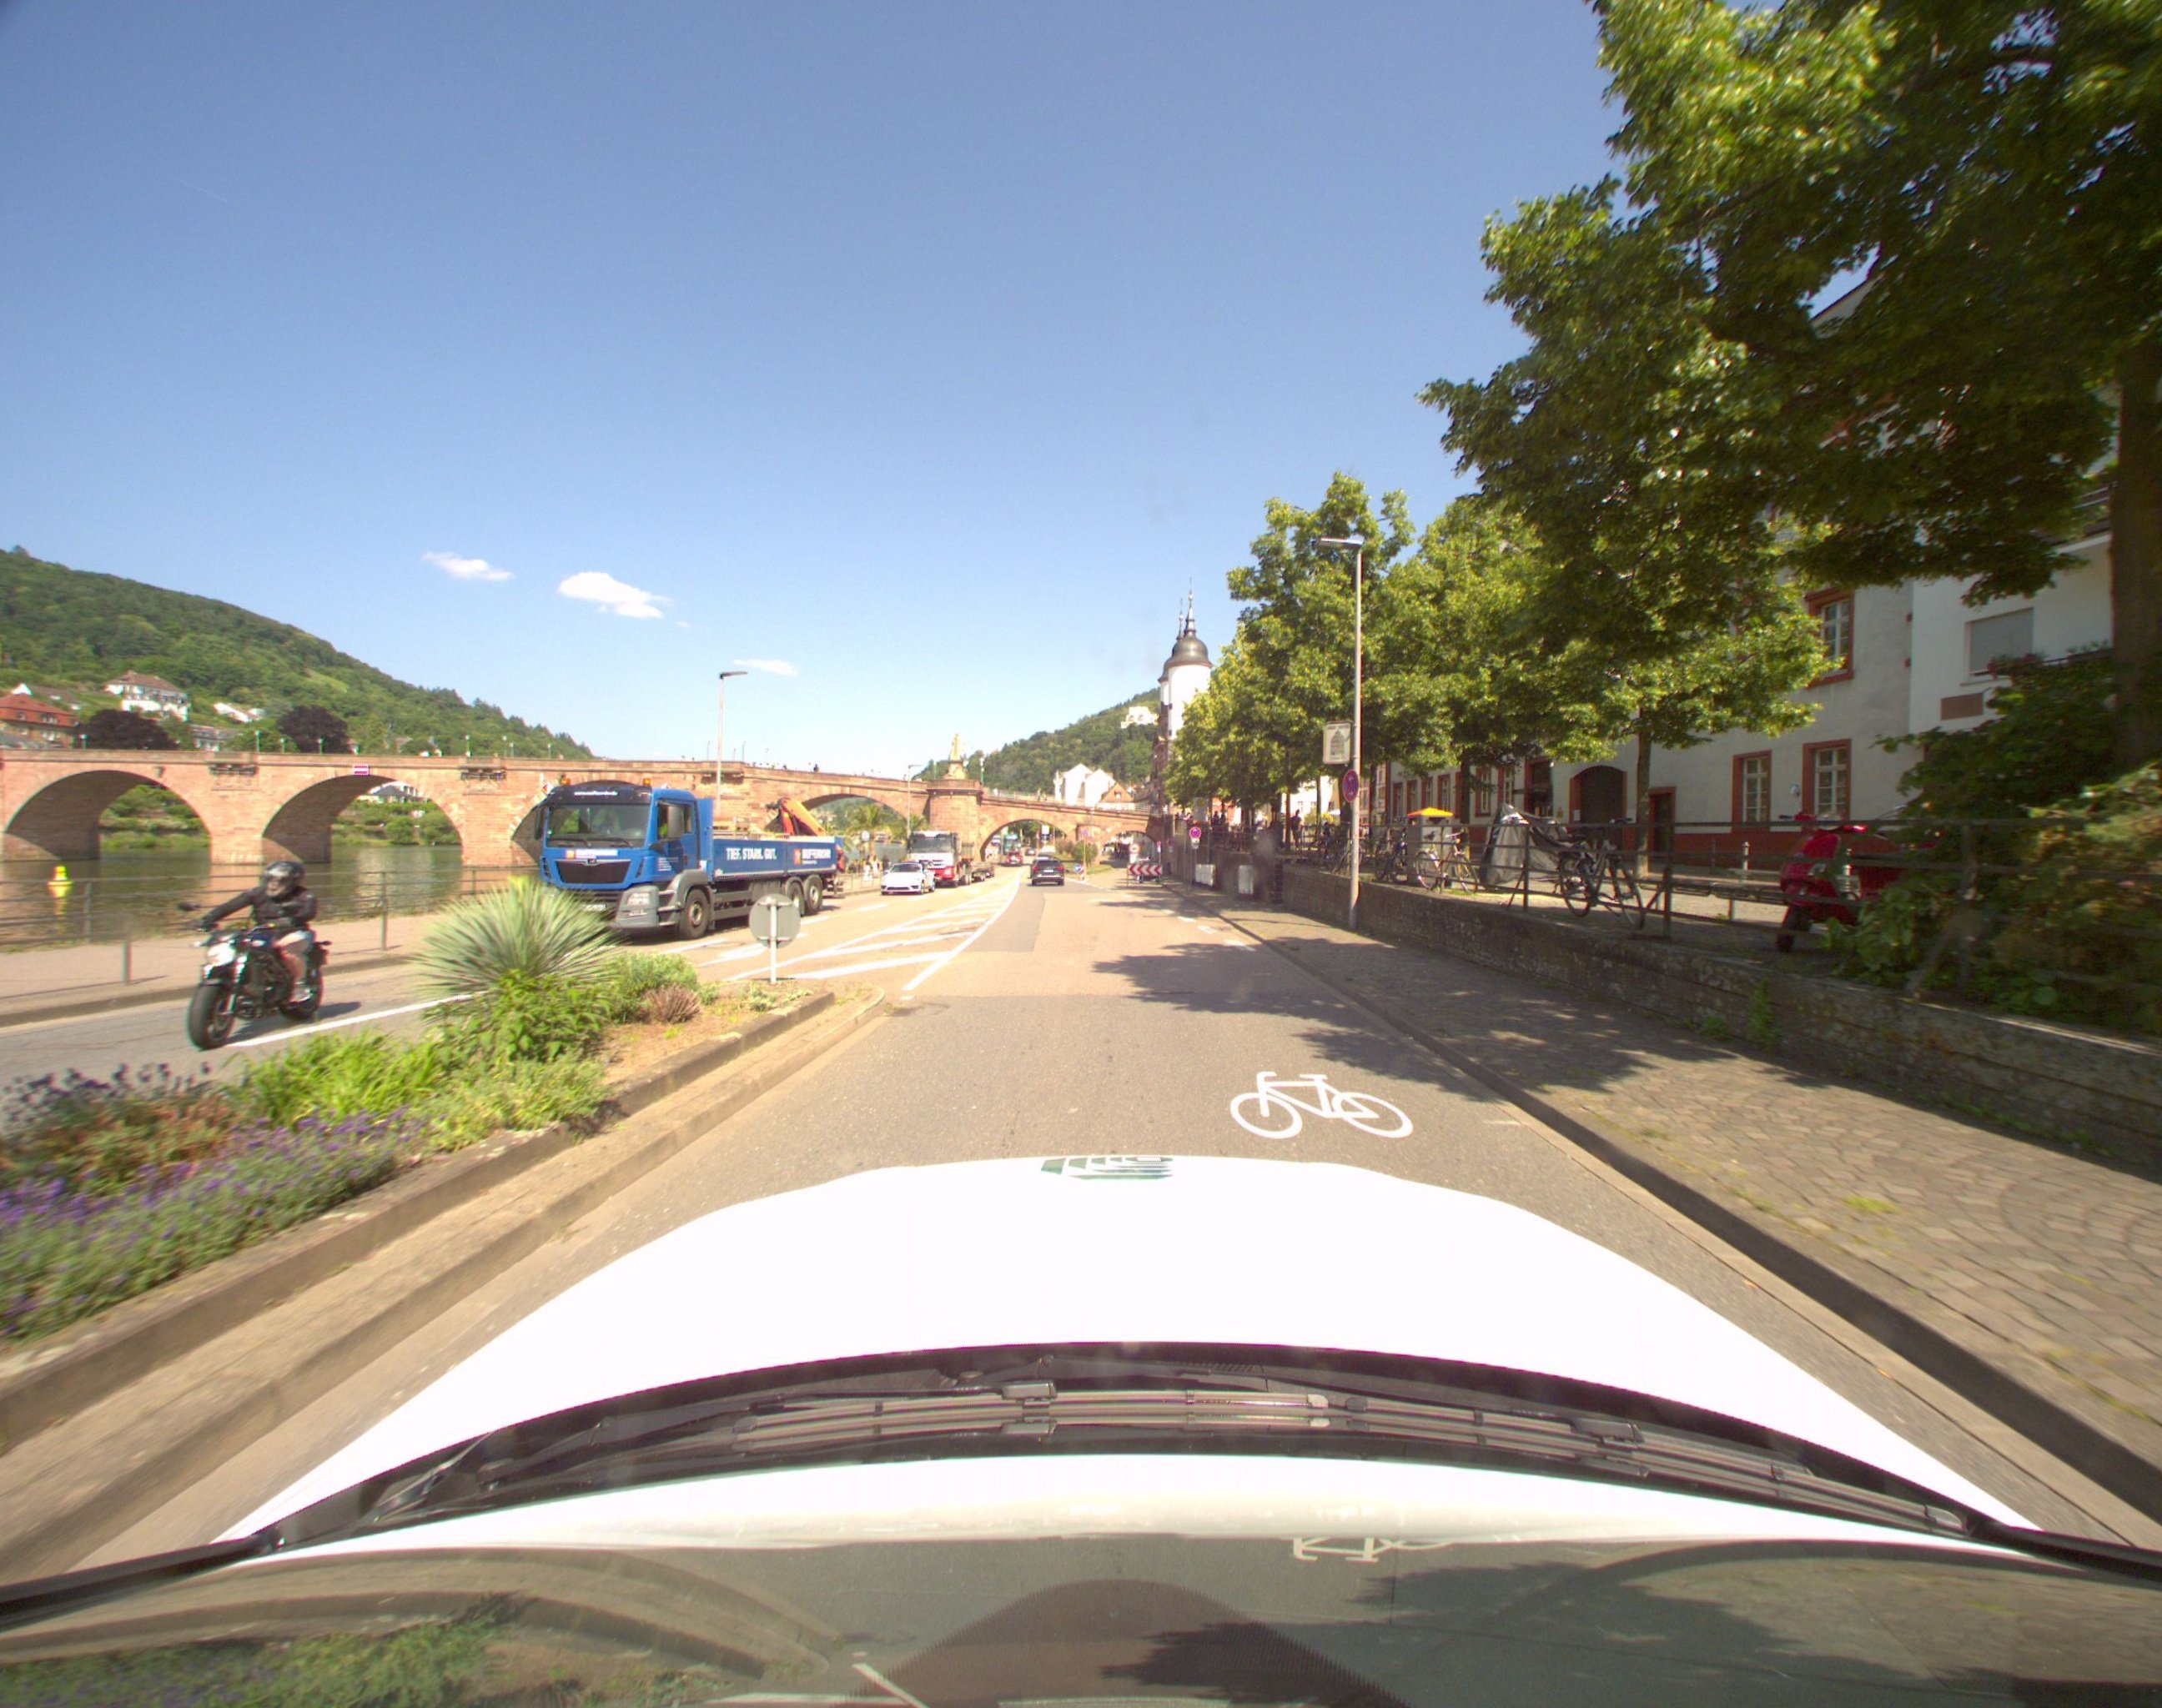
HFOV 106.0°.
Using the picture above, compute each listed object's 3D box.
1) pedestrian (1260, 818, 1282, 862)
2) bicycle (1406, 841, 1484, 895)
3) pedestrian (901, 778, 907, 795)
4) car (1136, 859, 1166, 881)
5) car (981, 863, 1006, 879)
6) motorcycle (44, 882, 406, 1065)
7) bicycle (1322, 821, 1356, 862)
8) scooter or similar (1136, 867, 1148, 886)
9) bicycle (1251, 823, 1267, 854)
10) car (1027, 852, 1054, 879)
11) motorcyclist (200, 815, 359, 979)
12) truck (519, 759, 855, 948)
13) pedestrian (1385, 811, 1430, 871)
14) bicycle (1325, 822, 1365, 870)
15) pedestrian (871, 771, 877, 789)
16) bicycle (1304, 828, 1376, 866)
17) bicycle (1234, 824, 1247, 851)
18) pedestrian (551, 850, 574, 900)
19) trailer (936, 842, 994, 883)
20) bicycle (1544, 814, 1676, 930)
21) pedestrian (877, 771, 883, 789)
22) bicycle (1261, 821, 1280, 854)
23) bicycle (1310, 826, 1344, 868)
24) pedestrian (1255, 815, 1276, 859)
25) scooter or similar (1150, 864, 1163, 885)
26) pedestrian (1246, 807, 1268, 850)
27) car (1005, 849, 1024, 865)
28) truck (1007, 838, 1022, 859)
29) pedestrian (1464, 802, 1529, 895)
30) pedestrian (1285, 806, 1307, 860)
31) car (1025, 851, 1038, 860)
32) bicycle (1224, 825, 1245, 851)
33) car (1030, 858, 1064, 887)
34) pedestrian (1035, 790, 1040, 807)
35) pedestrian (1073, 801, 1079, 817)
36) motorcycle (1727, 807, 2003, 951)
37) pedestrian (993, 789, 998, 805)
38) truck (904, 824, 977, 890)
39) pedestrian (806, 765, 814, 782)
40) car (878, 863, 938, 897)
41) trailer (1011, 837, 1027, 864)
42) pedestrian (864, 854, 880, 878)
[{"bbox_3d":[7.523,-0.539,32.261,0.716,1.721,0.573,0,0,1],"label":"pedestrian"},{"bbox_3d":[5.756,0.201,12.980,0.348,0.784,1.918,0,0,-1],"label":"bicycle"},{"bbox_3d":[-20.946,-8.029,96.550,0.623,2.013,0.693,0,0,-9],"label":"pedestrian"},{"bbox_3d":[4.847,1.095,57.175,1.836,1.450,4.536,0,0,2],"label":"car"},{"bbox_3d":[-7.058,1.347,65.925,1.666,1.194,3.627,-1,0,-1],"label":"car"},{"bbox_3d":[-7.959,1.008,7.835,0.723,1.387,2.514,0,0,4],"label":"motorcycle"},{"bbox_3d":[7.441,-0.367,23.530,0.380,1.140,1.934,0,1,0],"label":"bicycle"},{"bbox_3d":[3.667,1.330,49.080,0.528,1.089,1.443,0,0,10],"label":"scooter or similar"},{"bbox_3d":[6.518,-0.547,29.862,0.408,1.106,1.737,0,0,6],"label":"bicycle"},{"bbox_3d":[-3.128,0.875,63.814,1.988,2.013,3.998,0,0,-1],"label":"car"},{"bbox_3d":[-7.852,0.402,8.018,0.698,1.526,0.862,0,0,3],"label":"motorcyclist"},{"bbox_3d":[-8.852,-0.018,20.642,2.631,3.476,11.115,0,0,3],"label":"truck"},{"bbox_3d":[7.114,-0.277,17.751,0.693,1.265,0.669,0,0,-3],"label":"pedestrian"},{"bbox_3d":[5.887,-0.182,18.224,0.297,1.004,1.941,0,1,0],"label":"bicycle"},{"bbox_3d":[-24.463,-8.740,96.313,0.623,2.013,0.693,0,0,-9],"label":"pedestrian"},{"bbox_3d":[6.924,-0.194,21.820,1.849,1.004,0.299,0,1,-2],"label":"bicycle"},{"bbox_3d":[6.652,-0.673,34.014,0.408,1.106,1.737,-1,0,6],"label":"bicycle"},{"bbox_3d":[-15.878,0.642,24.942,0.349,1.485,0.414,2,0,3],"label":"pedestrian"},{"bbox_3d":[-7.770,0.592,55.392,2.688,2.531,6.948,-1,-1,1],"label":"trailer"},{"bbox_3d":[5.619,0.170,8.776,0.342,1.112,1.922,0,0,6],"label":"bicycle"},{"bbox_3d":[-23.868,-8.744,96.509,0.623,2.013,0.693,0,0,-9],"label":"pedestrian"},{"bbox_3d":[6.555,-0.545,28.169,0.408,1.106,1.927,0,0,6],"label":"bicycle"},{"bbox_3d":[6.129,-0.186,20.360,0.297,1.004,1.860,0,1,0],"label":"bicycle"},{"bbox_3d":[7.167,-0.654,31.639,0.716,1.721,0.573,0,0,1],"label":"pedestrian"},{"bbox_3d":[4.598,1.239,49.526,0.527,1.230,1.276,-1,0,15],"label":"scooter or similar"},{"bbox_3d":[7.109,-1.008,32.885,0.716,1.721,0.711,0,0,1],"label":"pedestrian"},{"bbox_3d":[-8.053,0.395,98.980,1.869,1.827,4.542,-1,1,-1],"label":"car"},{"bbox_3d":[-11.975,-1.043,147.394,2.518,3.748,6.239,-1,2,-3],"label":"truck"},{"bbox_3d":[6.515,-0.084,12.802,0.665,1.415,0.697,0,0,0],"label":"pedestrian"},{"bbox_3d":[8.770,-0.850,33.247,0.716,2.189,0.711,0,0,1],"label":"pedestrian"},{"bbox_3d":[-8.760,0.245,143.444,1.855,1.662,3.988,-1,0,-9],"label":"car"},{"bbox_3d":[6.773,-0.710,35.990,0.409,1.106,1.731,-1,0,-6],"label":"bicycle"},{"bbox_3d":[-1.886,1.012,46.306,1.851,1.524,3.998,0,0,-1],"label":"car"},{"bbox_3d":[-5.171,-6.594,97.057,0.622,2.013,0.695,0,0,-1],"label":"pedestrian"},{"bbox_3d":[-0.602,-5.691,102.757,0.682,2.013,0.586,0,0,-2],"label":"pedestrian"},{"bbox_3d":[6.485,0.181,6.768,1.913,1.098,0.574,-1,1,-7],"label":"motorcycle"},{"bbox_3d":[-10.562,-7.045,100.617,0.580,2.013,0.586,0,0,-2],"label":"pedestrian"},{"bbox_3d":[-7.946,0.193,47.107,2.632,3.457,7.873,-1,0,1],"label":"truck"},{"bbox_3d":[-31.788,-9.447,95.599,0.692,2.013,0.624,0,0,-6],"label":"pedestrian"},{"bbox_3d":[-7.811,1.135,37.166,1.771,1.444,3.998,0,0,1],"label":"car"},{"bbox_3d":[-7.993,-0.487,104.488,1.736,3.320,3.383,-1,0,-1],"label":"trailer"},{"bbox_3d":[-14.489,0.831,56.526,0.800,1.691,0.836,0,0,-39],"label":"pedestrian"}]
